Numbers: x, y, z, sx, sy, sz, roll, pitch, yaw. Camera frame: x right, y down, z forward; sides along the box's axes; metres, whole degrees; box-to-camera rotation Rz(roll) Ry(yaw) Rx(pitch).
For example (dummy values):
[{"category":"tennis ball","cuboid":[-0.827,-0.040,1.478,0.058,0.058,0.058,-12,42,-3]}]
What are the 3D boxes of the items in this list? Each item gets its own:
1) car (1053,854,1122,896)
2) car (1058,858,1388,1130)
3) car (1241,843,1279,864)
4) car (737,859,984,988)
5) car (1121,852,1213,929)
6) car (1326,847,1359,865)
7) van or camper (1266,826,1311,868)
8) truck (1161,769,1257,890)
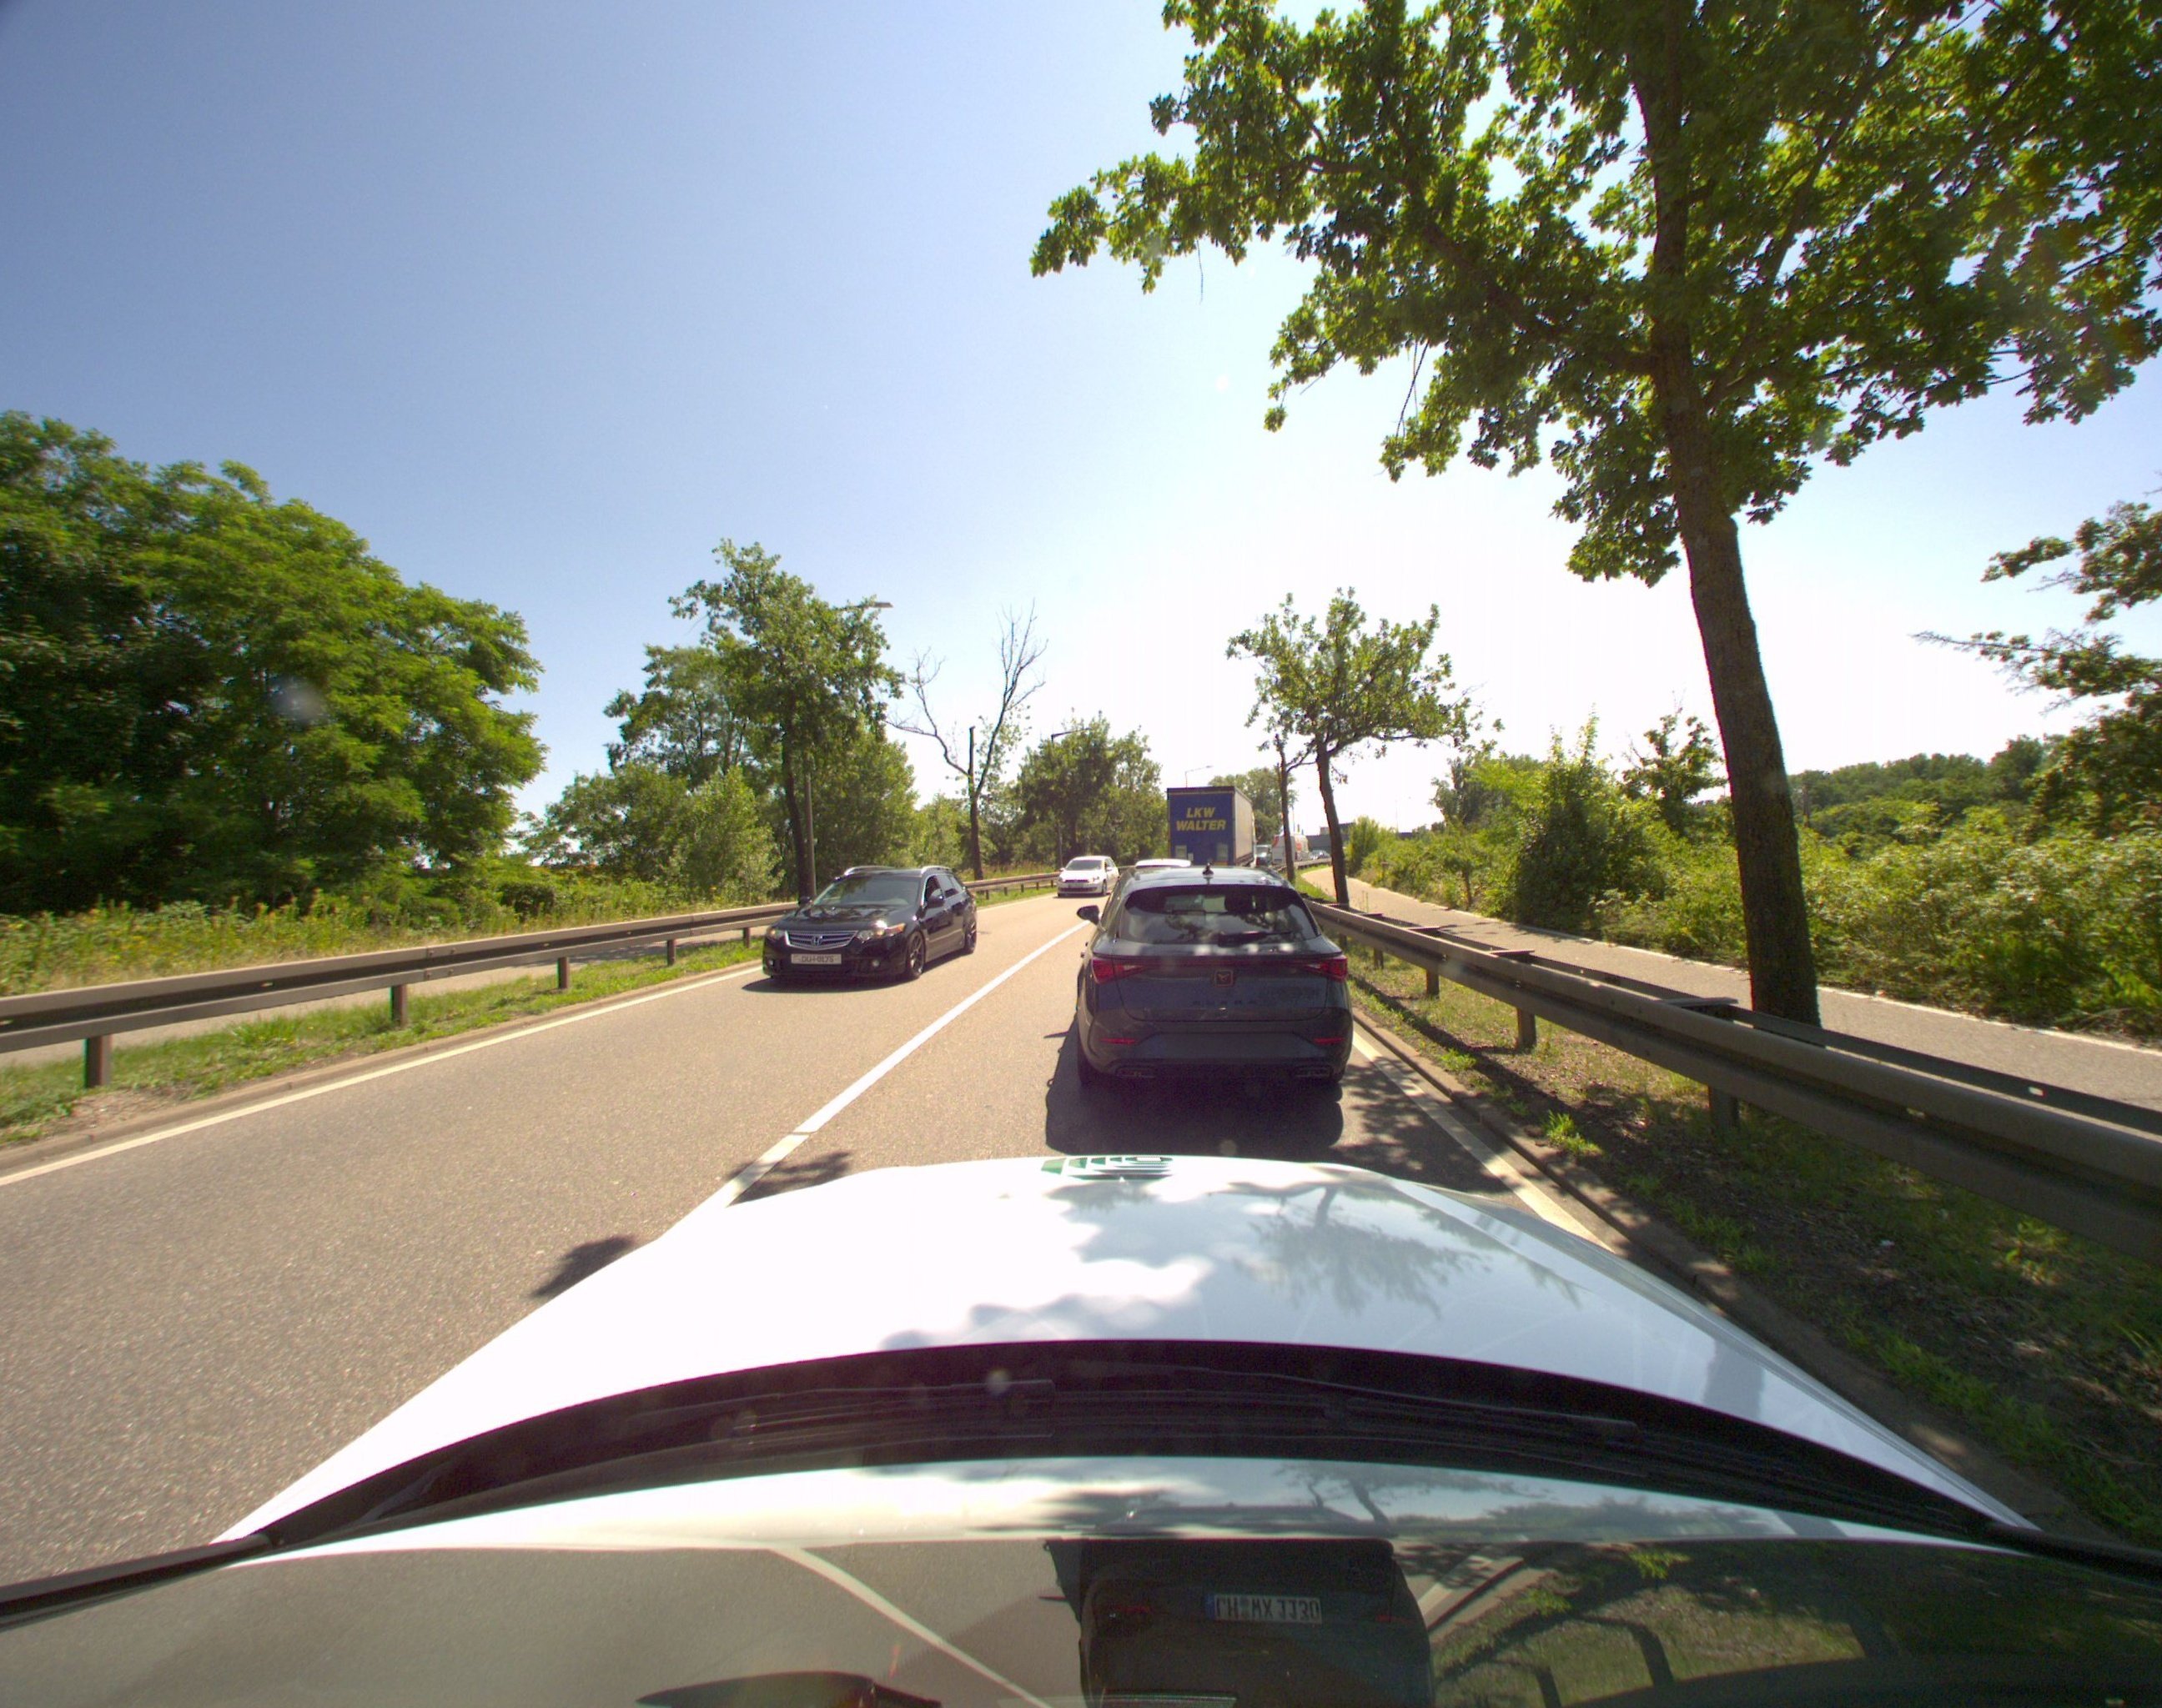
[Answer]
[{"category":"car","cuboid":[0.303,0.747,30.849,1.863,1.498,4.013,-1,0,11]},{"category":"car","cuboid":[0.834,0.758,6.286,1.737,1.432,3.882,-1,0,2]},{"category":"car","cuboid":[15.318,-0.061,69.551,2.110,1.681,4.907,-1,0,24]},{"category":"car","cuboid":[-2.805,0.812,11.499,1.850,1.421,4.266,-1,0,7]},{"category":"car","cuboid":[1.799,0.720,18.096,1.802,1.508,4.003,-1,0,3]},{"category":"car","cuboid":[25.256,0.180,78.555,1.974,1.712,4.649,-1,0,32]},{"category":"van or camper","cuboid":[15.803,-0.522,61.728,2.445,2.998,6.119,-1,0,22]},{"category":"truck","cuboid":[6.515,-0.887,38.498,2.928,4.449,16.862,-1,0,14]}]
